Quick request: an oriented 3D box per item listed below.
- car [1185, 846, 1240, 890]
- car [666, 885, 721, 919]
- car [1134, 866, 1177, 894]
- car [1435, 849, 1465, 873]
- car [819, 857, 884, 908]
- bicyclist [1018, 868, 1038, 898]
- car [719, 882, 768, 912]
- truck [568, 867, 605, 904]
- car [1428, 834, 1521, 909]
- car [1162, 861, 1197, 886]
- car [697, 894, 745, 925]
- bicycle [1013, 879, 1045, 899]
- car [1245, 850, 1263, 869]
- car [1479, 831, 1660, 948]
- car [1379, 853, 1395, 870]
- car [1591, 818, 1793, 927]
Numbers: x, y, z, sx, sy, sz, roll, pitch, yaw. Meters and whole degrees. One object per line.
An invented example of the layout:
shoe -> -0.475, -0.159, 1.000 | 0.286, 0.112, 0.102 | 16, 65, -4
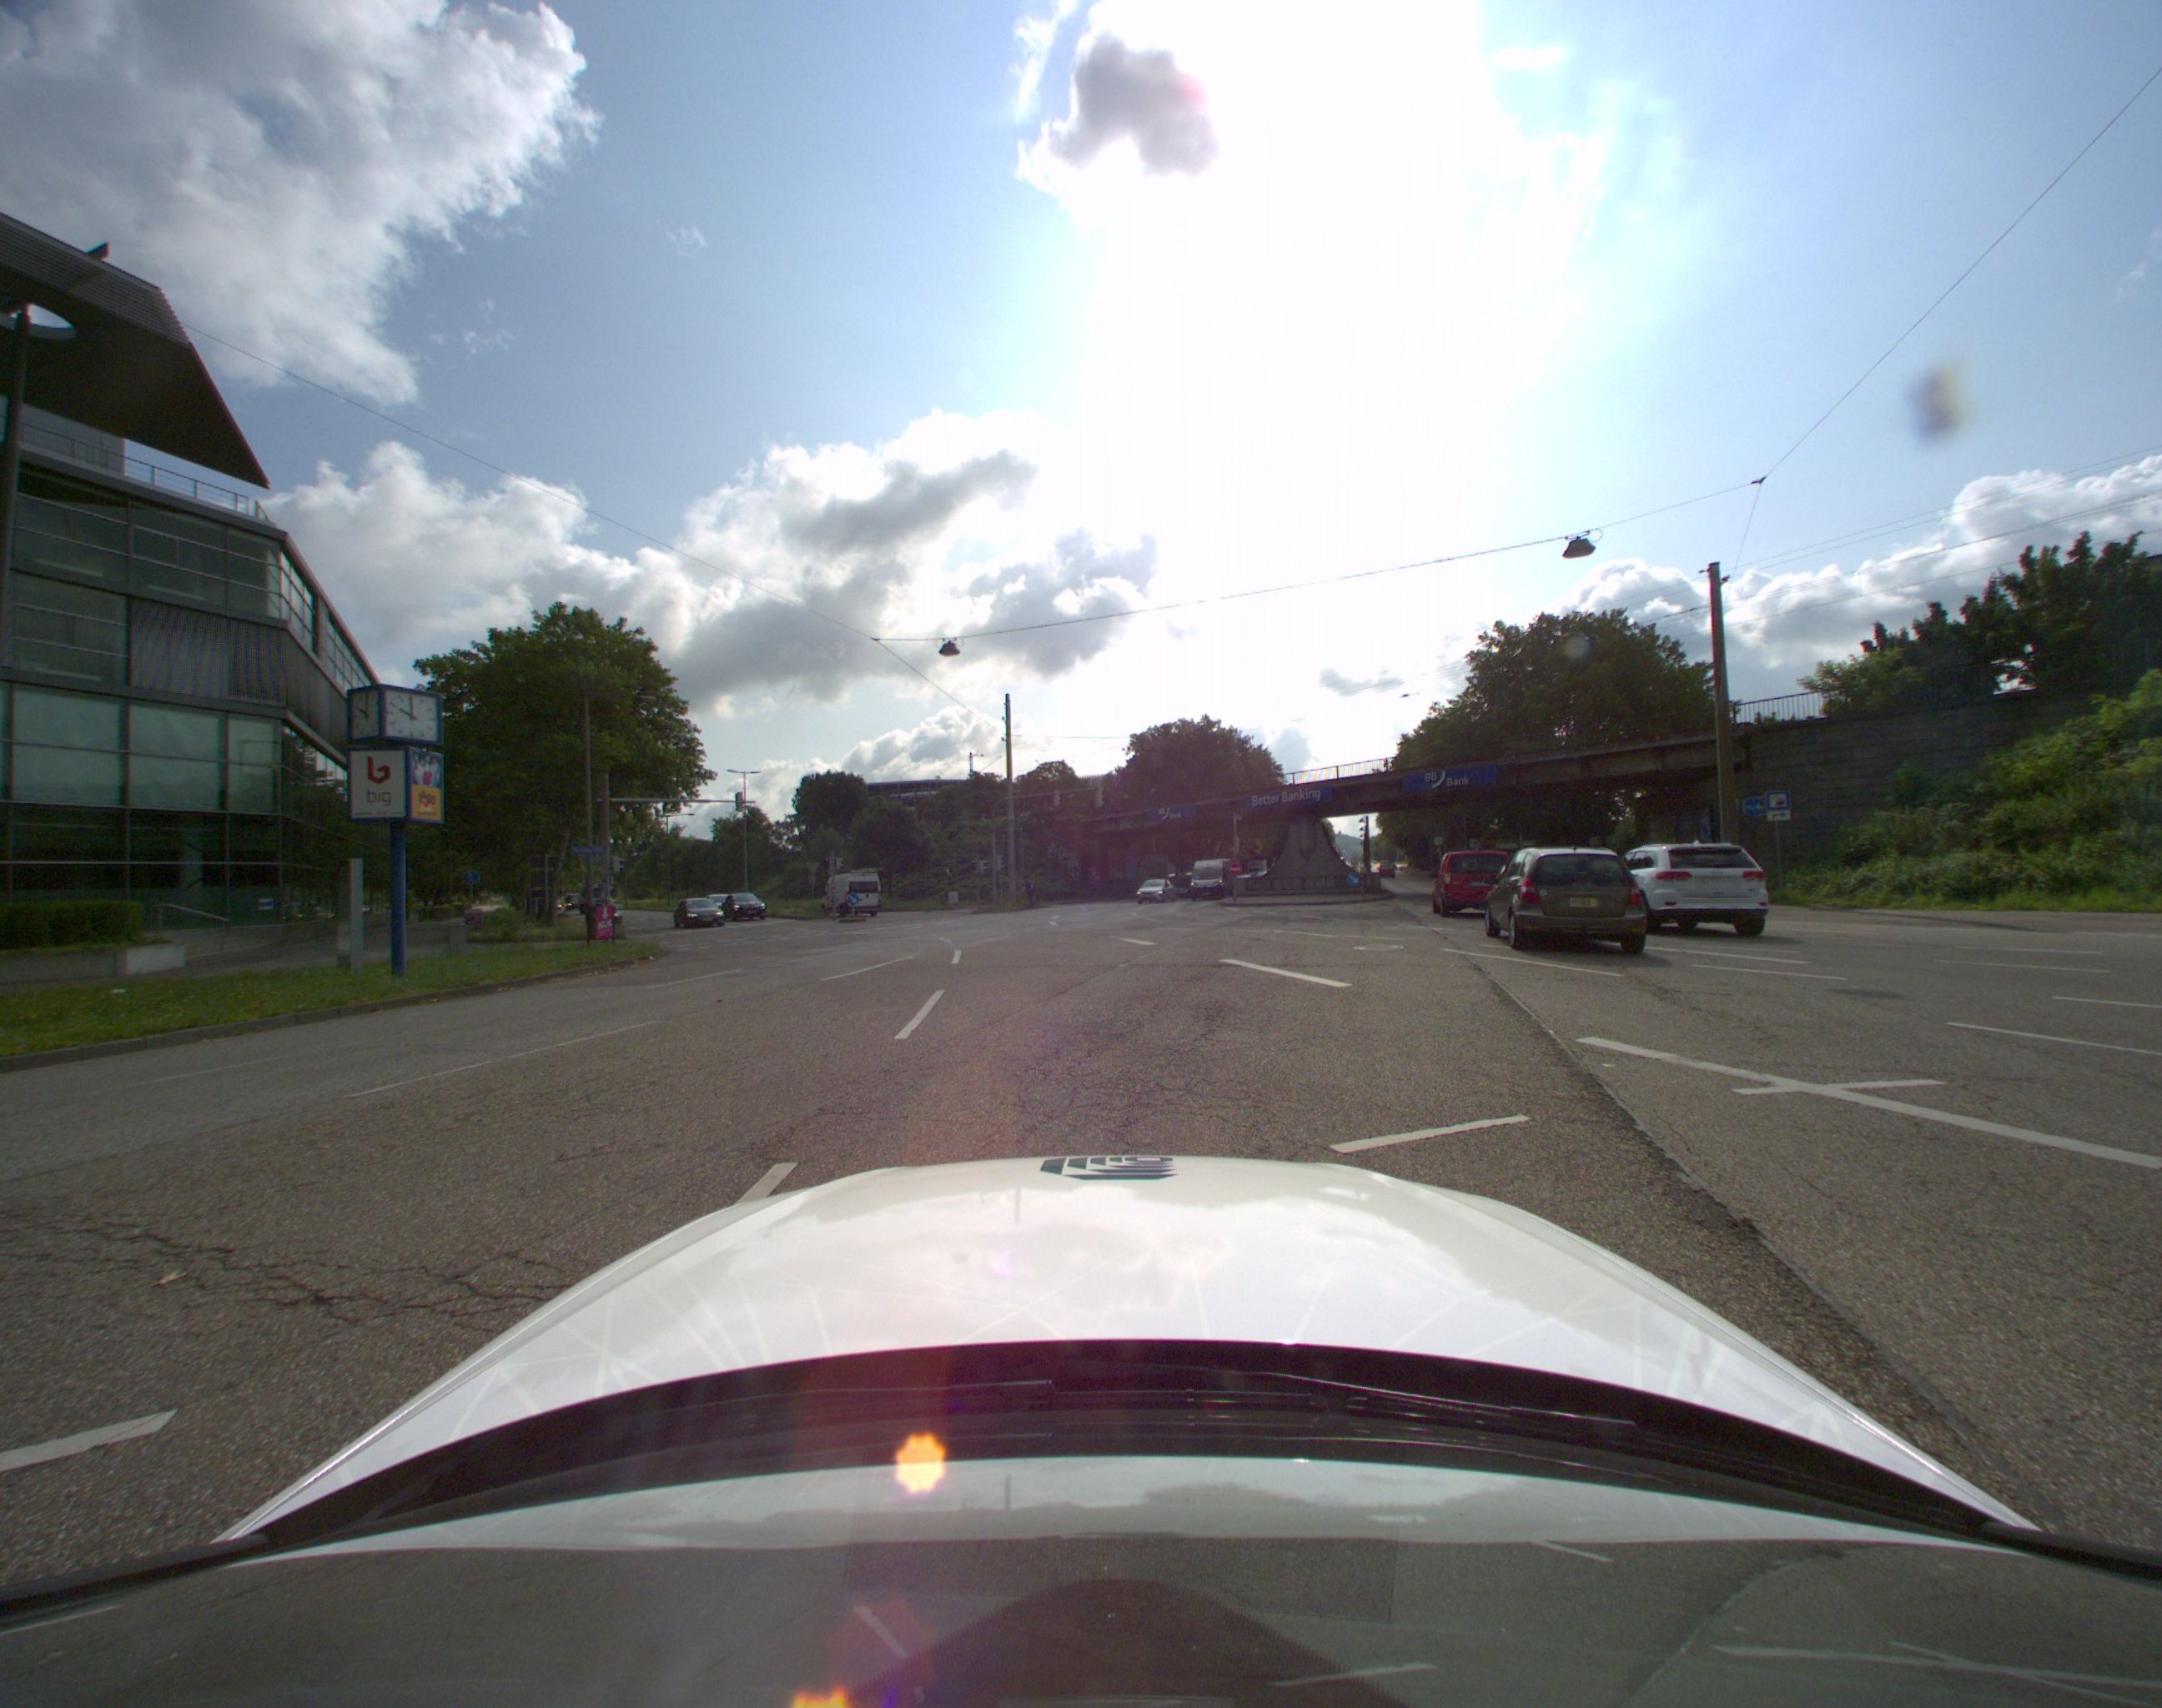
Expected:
car -> 8.342, 0.814, 51.211 | 2.239, 2.526, 5.655 | -4, -1, 20
car -> -19.997, 2.417, 41.970 | 1.878, 1.574, 4.519 | -1, -1, -34
car -> 4.655, 1.552, 50.194 | 1.689, 1.476, 4.019 | -4, -1, 18
car -> 25.453, 0.481, 56.231 | 1.760, 1.558, 4.022 | -1, 0, 24
car -> -13.331, 1.640, 47.190 | 2.213, 2.726, 4.880 | -1, -2, -33
bicyclist -> -3.112, 1.683, 47.811 | 0.834, 1.678, 0.828 | -3, -1, 26
car -> -19.595, 2.500, 47.207 | 1.720, 1.587, 4.315 | -2, -2, -34
truck -> -56.912, 3.510, 93.670 | 2.671, 3.887, 10.047 | -1, 1, -36
car -> 11.722, 0.489, 24.558 | 1.940, 2.017, 4.698 | 0, 0, 19
car -> 7.118, 1.390, 58.647 | 1.752, 1.583, 4.682 | -3, -1, 15
car -> -23.321, 3.551, 52.692 | 2.009, 1.728, 3.955 | -2, 0, -36
bicycle -> -3.039, 2.035, 47.914 | 0.834, 1.093, 2.332 | -2, -1, 26
car -> 25.757, 0.806, 121.224 | 2.228, 2.578, 5.648 | -4, -1, 15
car -> 7.746, 0.507, 13.299 | 1.777, 1.608, 3.817 | -1, -1, 19
car -> 38.986, 0.918, 103.739 | 1.784, 2.123, 3.786 | -1, 0, 21
car -> 12.160, 0.355, 16.613 | 1.978, 1.901, 4.530 | -1, -1, 19
